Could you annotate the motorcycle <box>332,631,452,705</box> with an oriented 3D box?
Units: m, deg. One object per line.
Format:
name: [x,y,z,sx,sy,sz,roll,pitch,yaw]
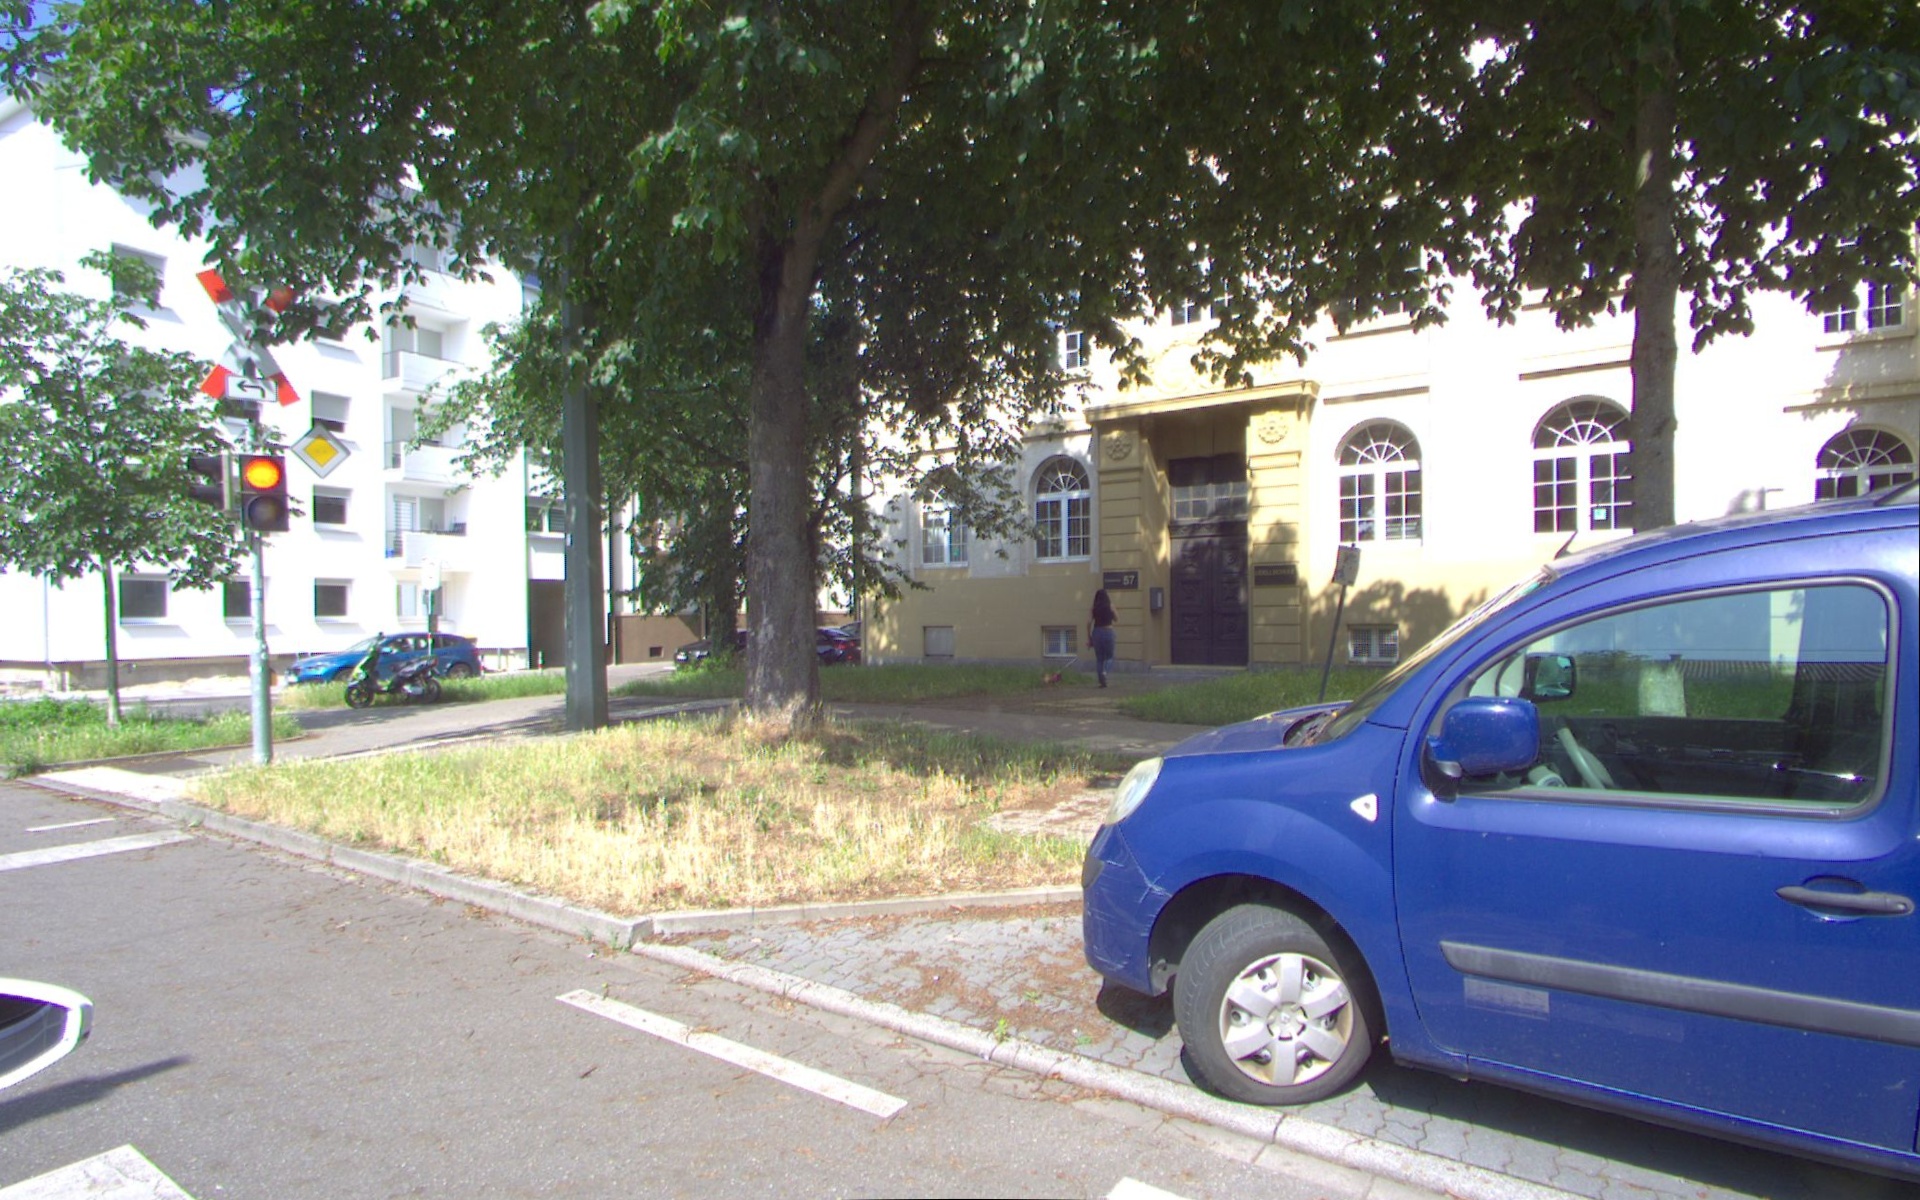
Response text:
motorcycle: [-10.395,1.243,18.360,1.811,1.233,0.571,-2,4,0]

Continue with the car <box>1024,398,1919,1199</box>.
car: [2.412,0.537,2.843,4.128,1.921,1.816,0,1,36]

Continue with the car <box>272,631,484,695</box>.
car: [-14.139,1.502,24.557,1.755,1.430,4.160,-1,-3,32]

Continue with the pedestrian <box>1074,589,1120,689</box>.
pedestrian: [2.281,0.634,16.623,0.532,1.617,0.630,-1,0,31]

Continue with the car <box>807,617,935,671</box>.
car: [-2.827,1.329,31.337,3.955,1.560,1.797,-1,-1,42]

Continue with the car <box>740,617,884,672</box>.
car: [-4.302,1.261,28.943,3.942,1.478,1.736,-1,0,32]
